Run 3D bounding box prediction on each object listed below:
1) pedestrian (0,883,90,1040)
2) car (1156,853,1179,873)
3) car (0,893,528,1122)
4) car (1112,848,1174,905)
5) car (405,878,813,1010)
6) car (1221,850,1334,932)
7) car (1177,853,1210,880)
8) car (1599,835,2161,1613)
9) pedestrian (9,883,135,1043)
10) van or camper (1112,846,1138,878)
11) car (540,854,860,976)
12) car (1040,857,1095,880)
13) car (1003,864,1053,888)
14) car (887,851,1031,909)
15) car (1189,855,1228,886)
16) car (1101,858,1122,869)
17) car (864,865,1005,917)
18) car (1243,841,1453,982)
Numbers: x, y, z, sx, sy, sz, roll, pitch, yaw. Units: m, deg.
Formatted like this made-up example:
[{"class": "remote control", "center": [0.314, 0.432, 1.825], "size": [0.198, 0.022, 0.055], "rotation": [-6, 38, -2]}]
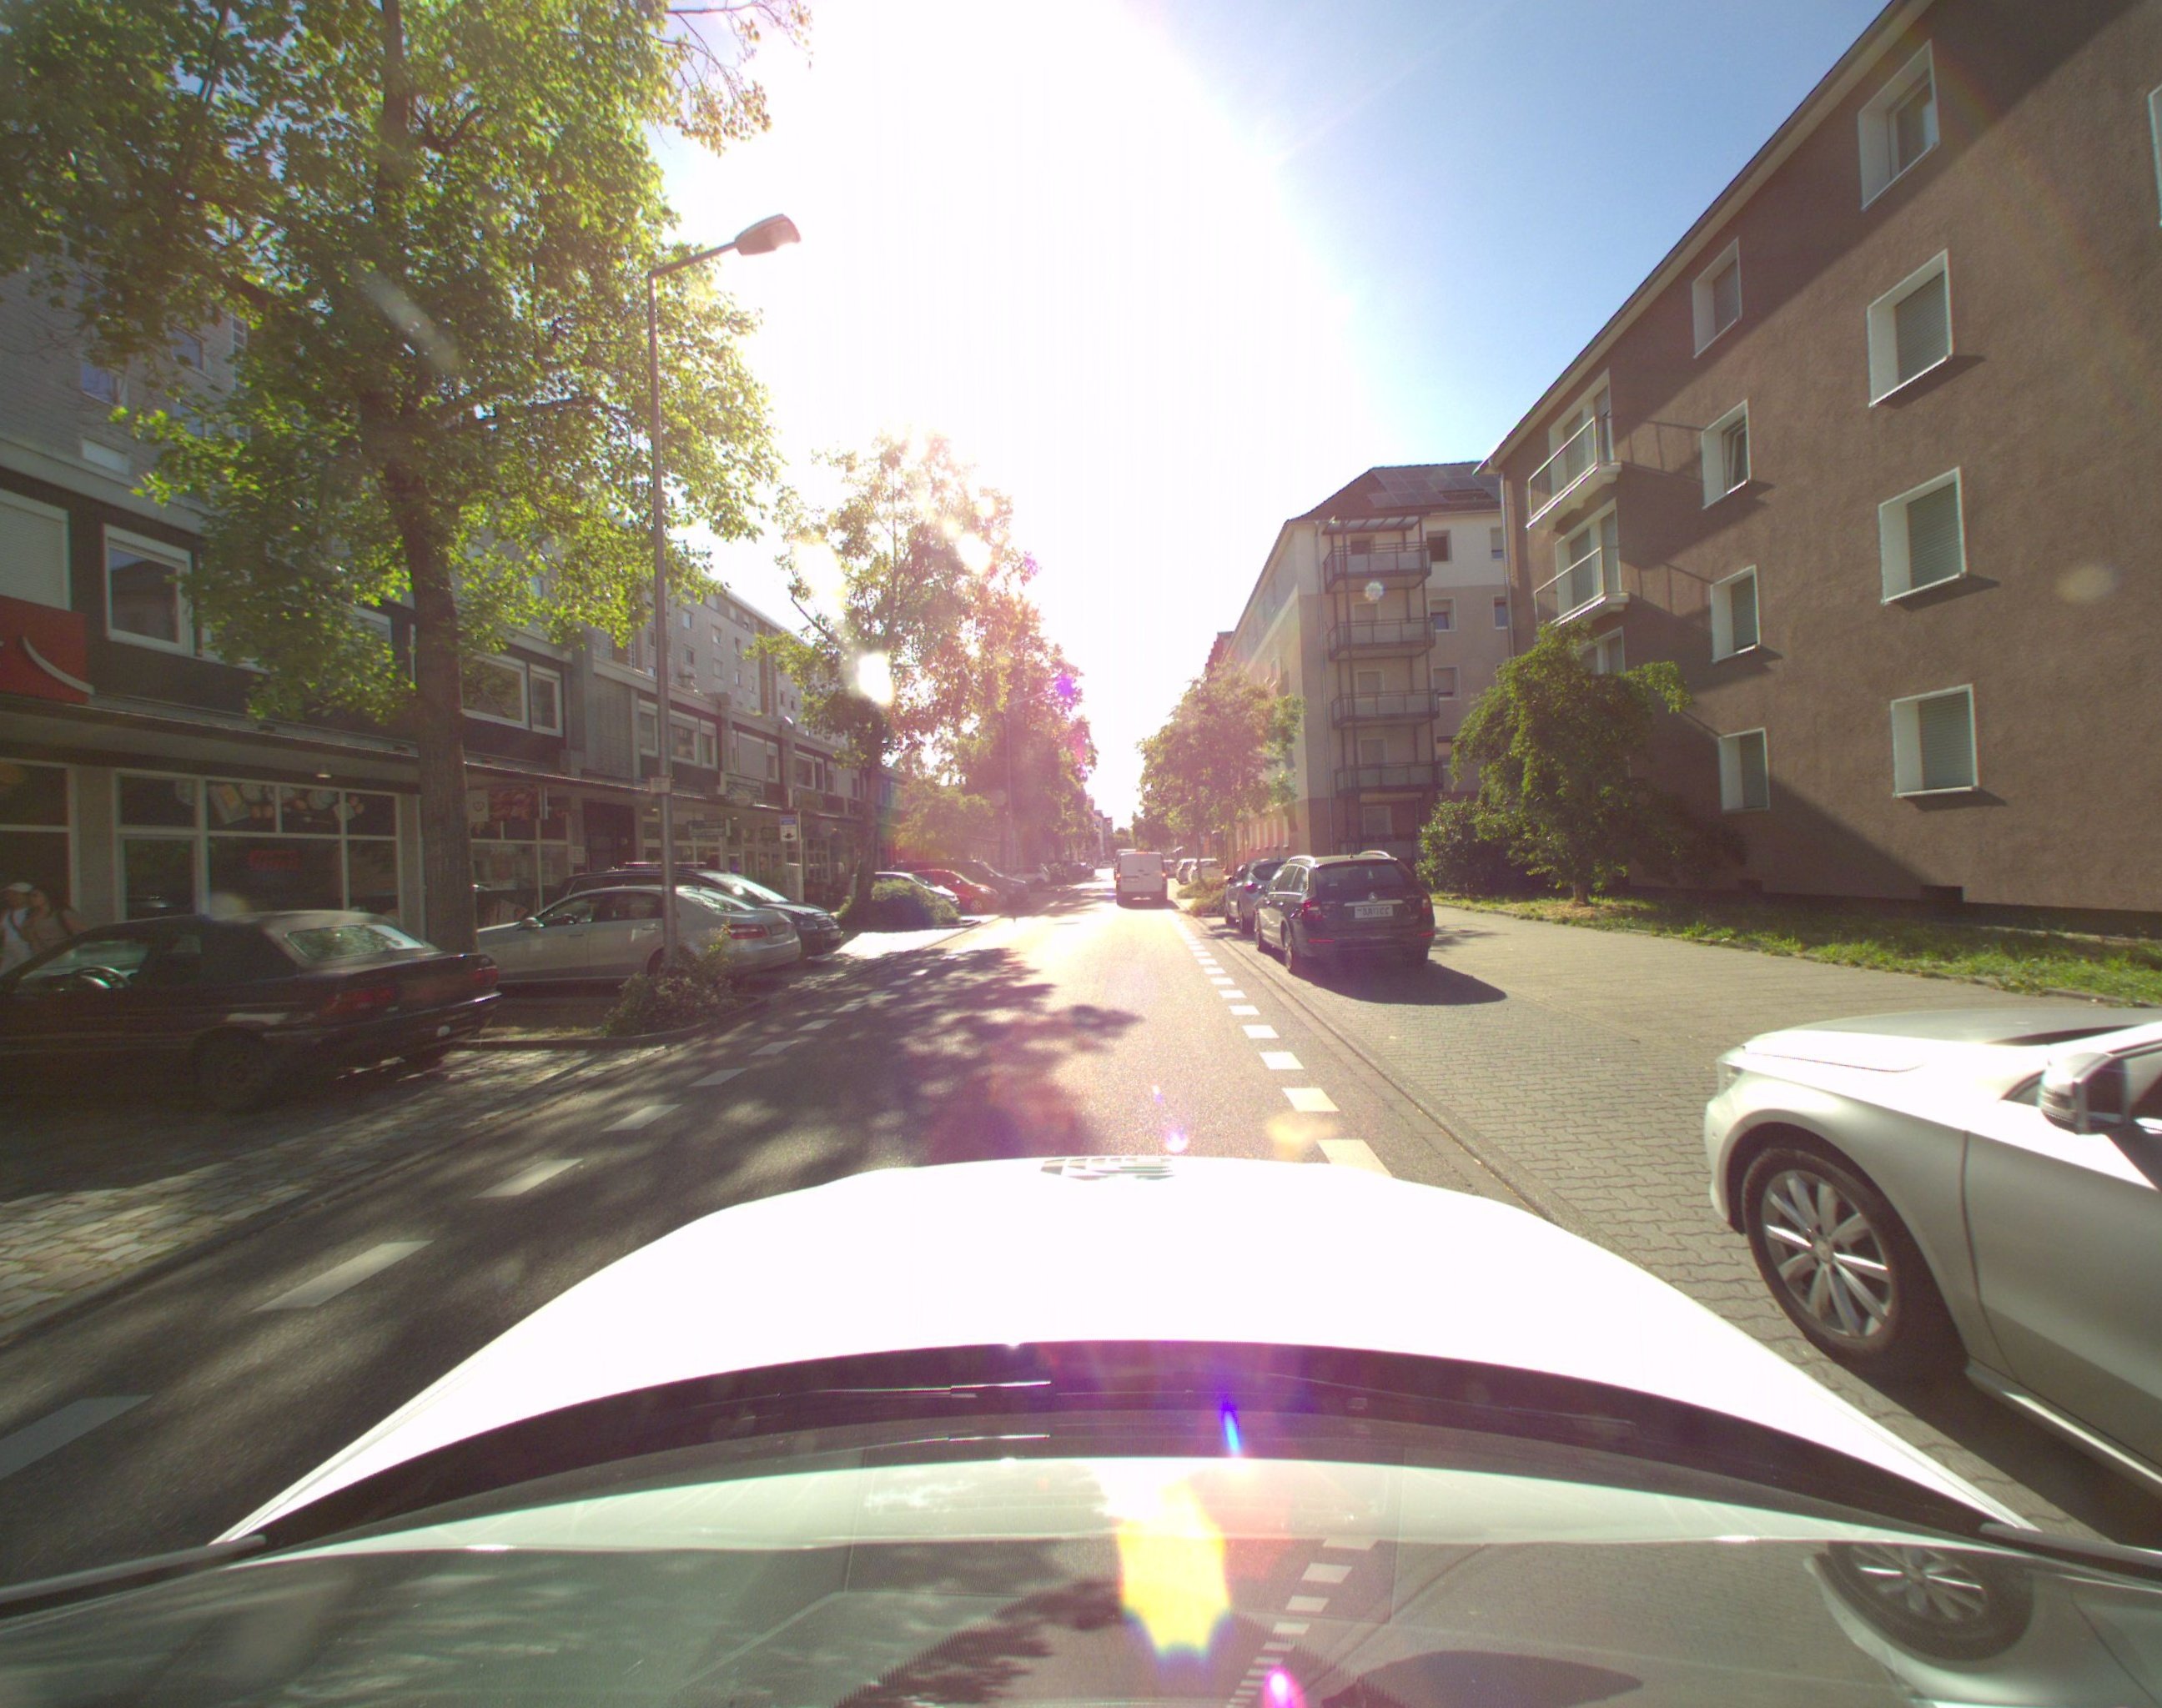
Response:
[{"class": "pedestrian", "center": [-11.703, 1.171, 9.011], "size": [0.627, 1.651, 0.634], "rotation": [-3, -1, 4]}, {"class": "car", "center": [7.237, 0.759, 68.042], "size": [1.732, 1.519, 3.863], "rotation": [-3, 0, 4]}, {"class": "car", "center": [-7.121, 1.156, 6.660], "size": [4.014, 1.494, 1.718], "rotation": [-2, 0, 2]}, {"class": "car", "center": [2.338, 0.798, 31.539], "size": [2.092, 1.907, 5.429], "rotation": [-3, 0, 3]}, {"class": "car", "center": [-6.454, 1.201, 11.491], "size": [4.637, 1.494, 1.829], "rotation": [-2, 0, 2]}, {"class": "car", "center": [4.122, 0.724, 17.680], "size": [1.732, 1.519, 3.863], "rotation": [-3, 0, 4]}, {"class": "car", "center": [6.840, 0.748, 49.957], "size": [1.732, 1.519, 3.863], "rotation": [-3, 0, 4]}, {"class": "car", "center": [2.893, 0.696, 1.259], "size": [1.732, 1.454, 4.160], "rotation": [-3, 0, 4]}, {"class": "pedestrian", "center": [-11.074, 1.165, 8.956], "size": [0.528, 1.651, 0.634], "rotation": [-3, -1, 4]}, {"class": "van or camper", "center": [3.806, 0.683, 69.121], "size": [1.985, 2.475, 5.826], "rotation": [-3, 0, 4]}, {"class": "car", "center": [-6.439, 0.996, 14.119], "size": [4.608, 1.804, 1.838], "rotation": [-2, 0, 2]}, {"class": "car", "center": [-1.304, 1.425, 79.266], "size": [5.192, 1.981, 1.663], "rotation": [-2, 0, 2]}, {"class": "car", "center": [-3.520, 1.474, 54.453], "size": [3.087, 1.409, 1.663], "rotation": [-2, 0, 2]}, {"class": "car", "center": [-4.653, 0.976, 31.441], "size": [5.192, 1.981, 1.663], "rotation": [-2, 0, 2]}, {"class": "car", "center": [6.882, 0.881, 44.318], "size": [1.732, 1.519, 3.863], "rotation": [-3, 0, 4]}, {"class": "car", "center": [5.897, 1.867, 157.098], "size": [3.975, 2.013, 1.999], "rotation": [-3, -1, -1]}, {"class": "car", "center": [-5.130, 1.287, 28.909], "size": [4.608, 1.610, 1.663], "rotation": [-2, 0, 2]}, {"class": "car", "center": [3.514, 0.677, 11.583], "size": [1.775, 1.519, 4.314], "rotation": [-4, 0, 4]}]
